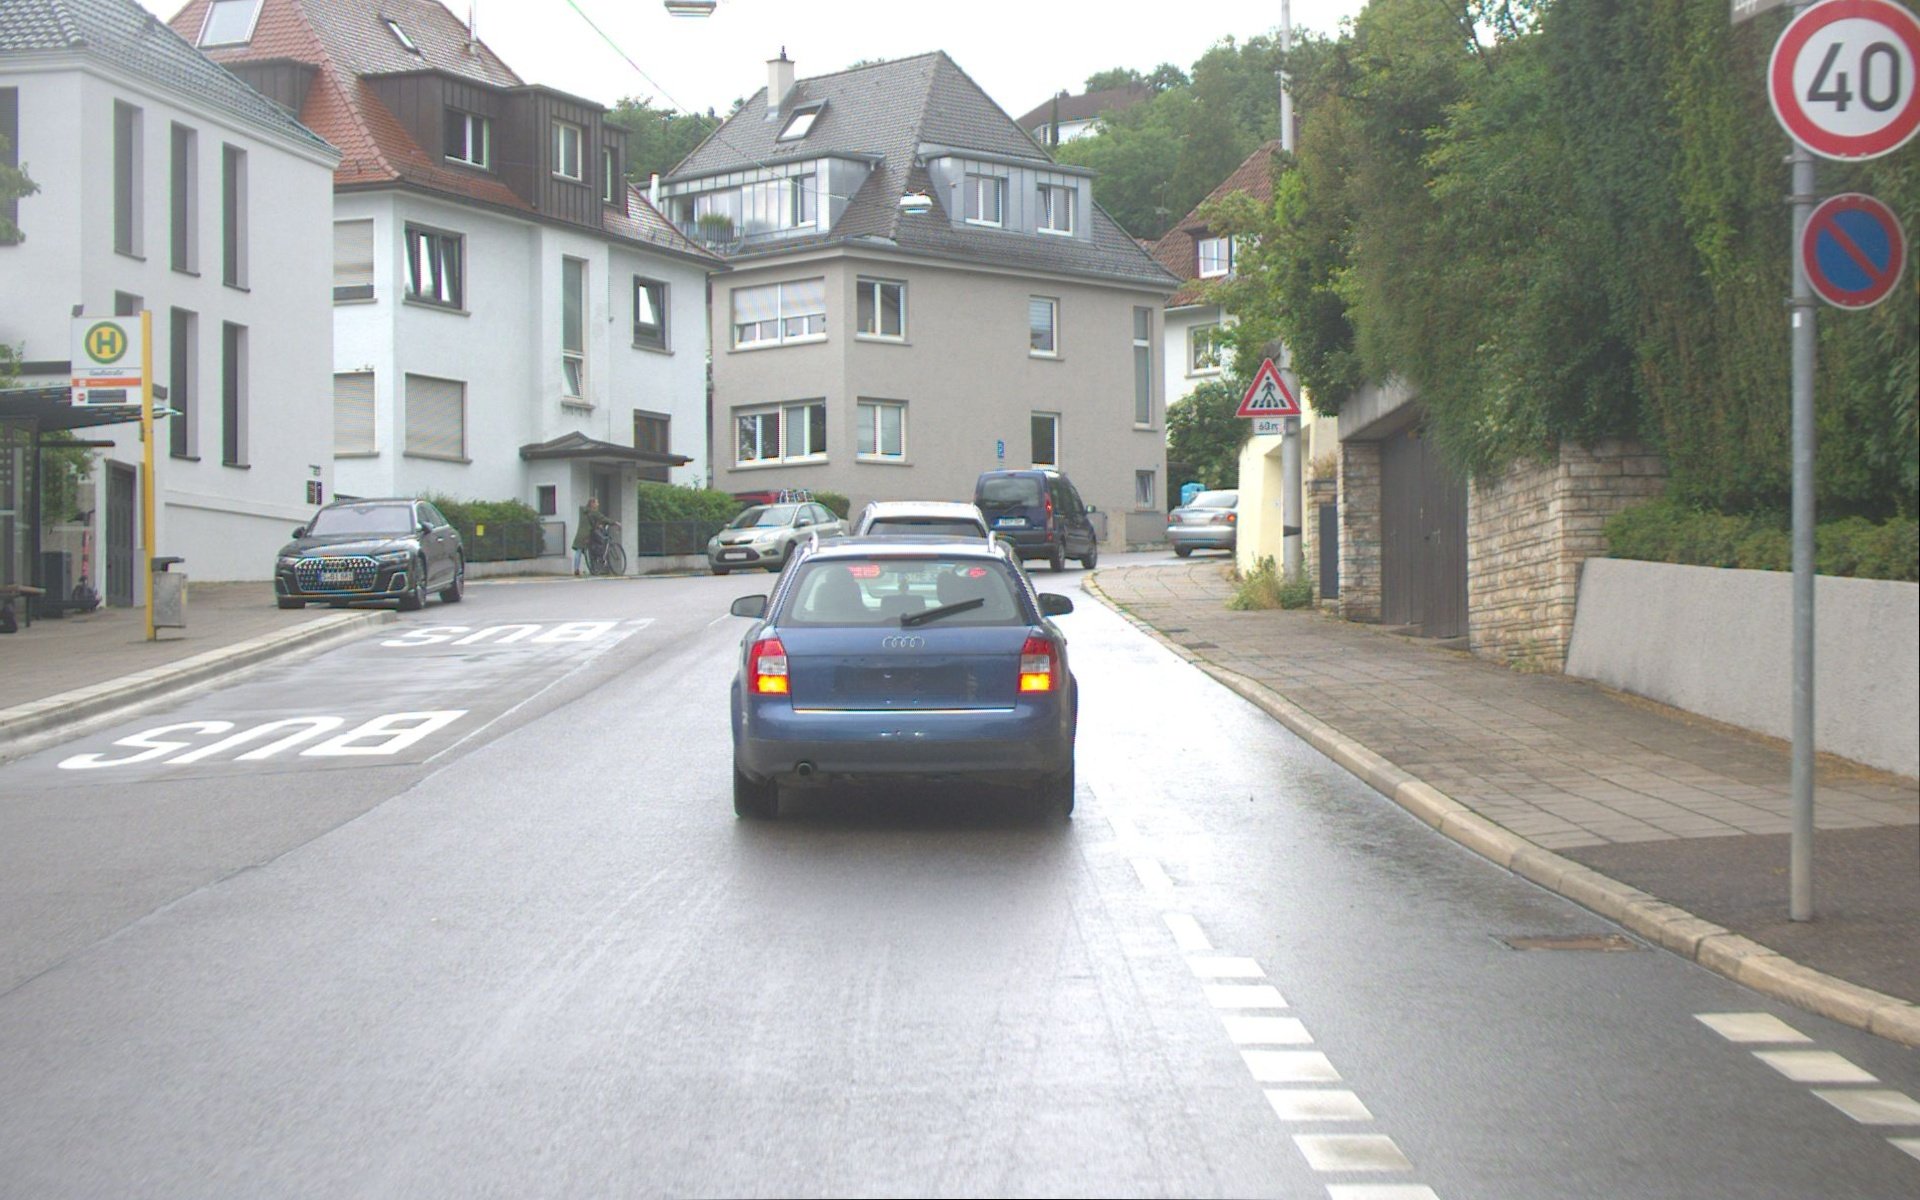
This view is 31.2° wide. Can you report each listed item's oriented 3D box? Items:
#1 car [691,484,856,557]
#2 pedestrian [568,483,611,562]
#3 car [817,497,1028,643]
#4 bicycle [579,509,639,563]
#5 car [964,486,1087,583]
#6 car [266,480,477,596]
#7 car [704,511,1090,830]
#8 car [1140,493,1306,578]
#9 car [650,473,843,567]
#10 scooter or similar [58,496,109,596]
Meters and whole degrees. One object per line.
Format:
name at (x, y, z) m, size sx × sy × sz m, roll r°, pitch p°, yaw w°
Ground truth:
car at (-3.890, -1.699, 72.438) m, size 1.838 × 1.420 × 4.225 m, roll -2°, pitch 1°, yaw 21°
pedestrian at (-7.516, -1.577, 69.754) m, size 0.493 × 1.571 × 0.947 m, roll 0°, pitch 2°, yaw 18°
car at (-0.433, -0.308, 34.679) m, size 1.811 × 1.356 × 4.001 m, roll 1°, pitch 1°, yaw -5°
bicycle at (-7.099, -1.299, 69.622) m, size 0.456 × 1.063 × 1.920 m, roll 0°, pitch 2°, yaw 18°
car at (1.229, -1.209, 63.047) m, size 1.928 × 1.700 × 3.999 m, roll 1°, pitch 1°, yaw 5°
car at (-8.009, -0.867, 47.218) m, size 1.829 × 1.480 × 4.991 m, roll -1°, pitch 1°, yaw 2°
car at (-0.304, 0.284, 18.443) m, size 1.811 × 1.434 × 4.082 m, roll 1°, pitch 2°, yaw 0°
car at (5.683, -1.401, 73.882) m, size 1.931 × 1.700 × 3.993 m, roll -1°, pitch 2°, yaw 31°
car at (-5.060, -1.892, 81.487) m, size 3.992 × 1.816 × 1.997 m, roll -5°, pitch 0°, yaw 28°
scooter or similar at (-10.753, -0.673, 42.187) m, size 0.337 × 1.215 × 1.123 m, roll 0°, pitch 2°, yaw 0°
